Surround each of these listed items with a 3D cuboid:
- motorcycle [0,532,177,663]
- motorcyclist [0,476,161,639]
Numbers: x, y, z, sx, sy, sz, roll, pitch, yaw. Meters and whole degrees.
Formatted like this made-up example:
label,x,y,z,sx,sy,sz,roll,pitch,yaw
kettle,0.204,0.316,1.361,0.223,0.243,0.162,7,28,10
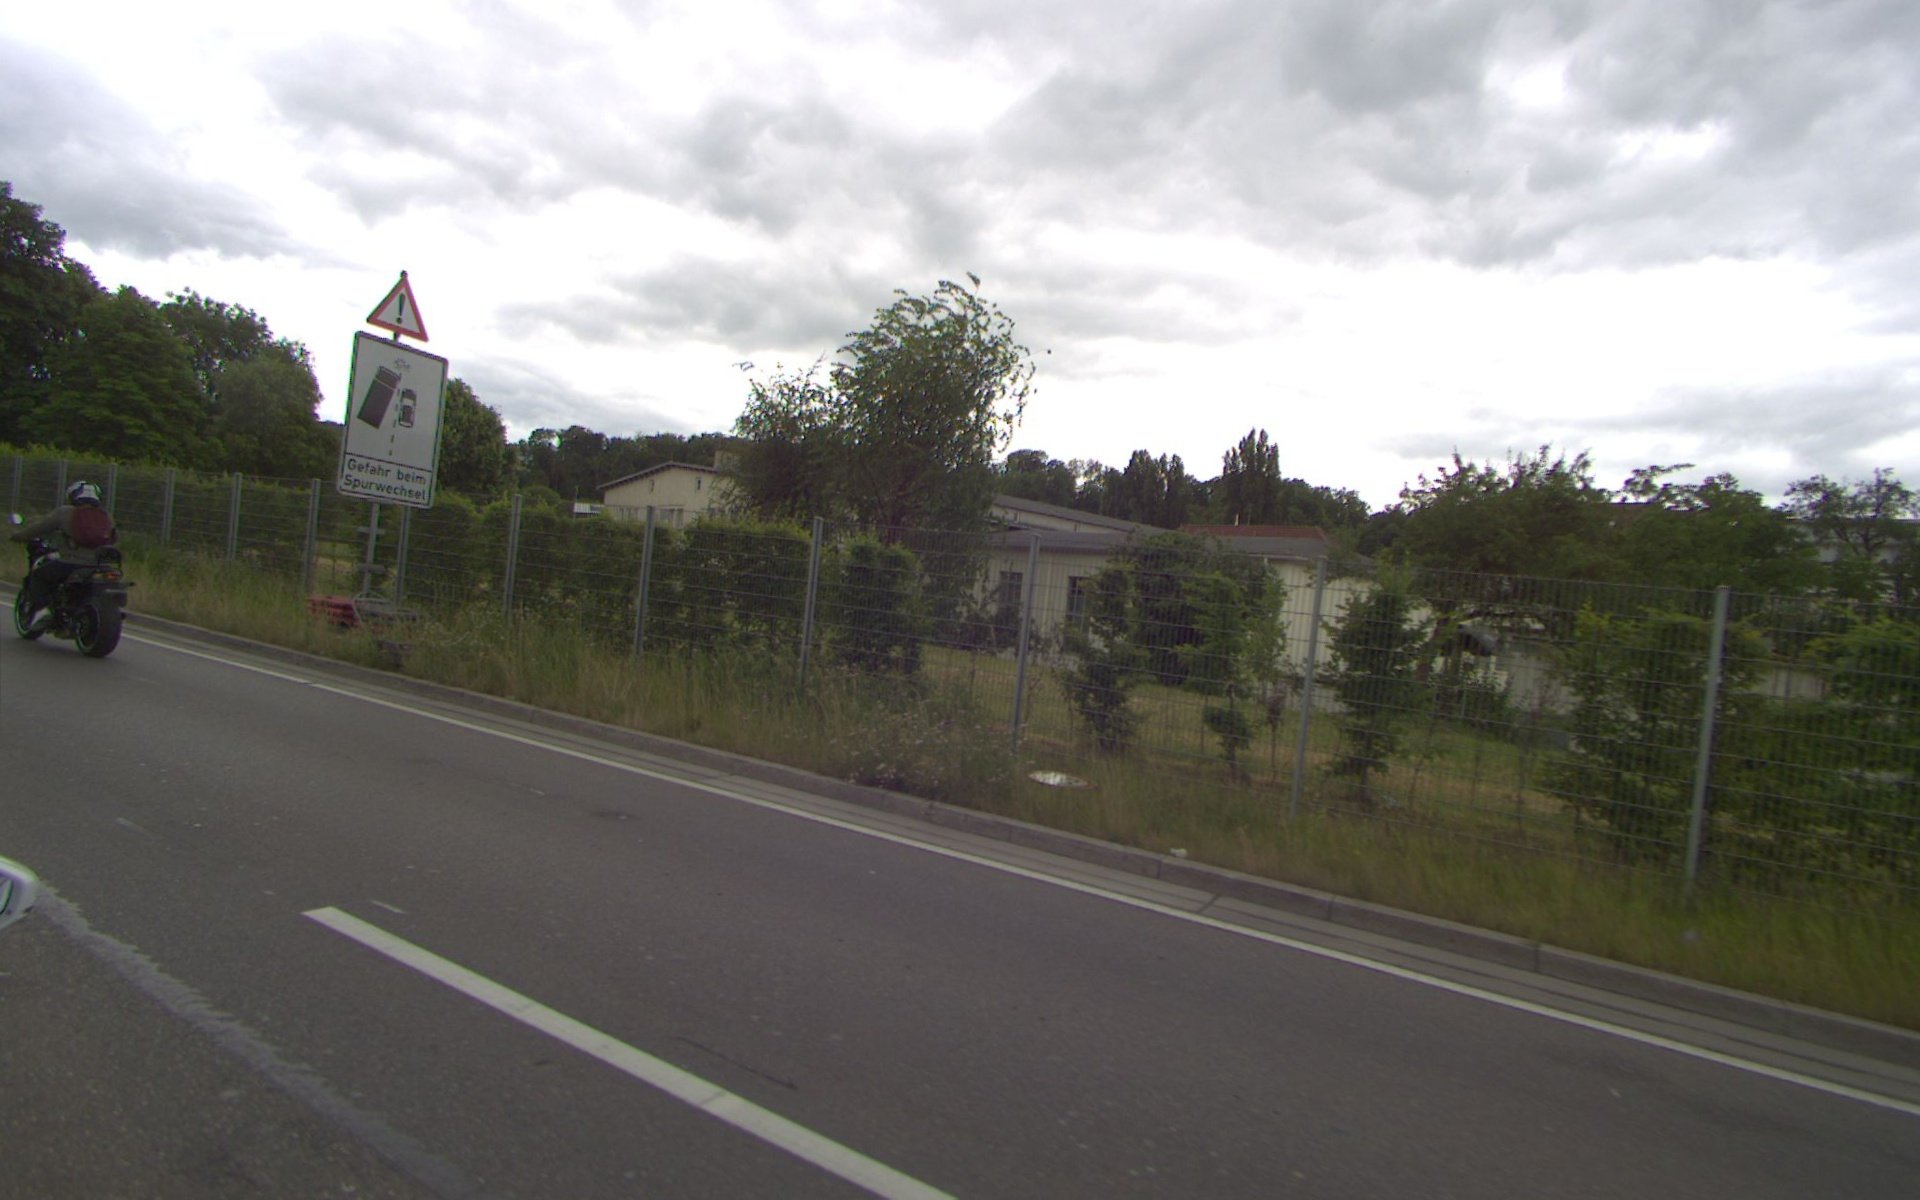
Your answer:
label,x,y,z,sx,sy,sz,roll,pitch,yaw
motorcycle,-9.233,-0.058,10.371,2.618,1.097,0.745,6,1,27
motorcyclist,-9.008,-0.419,10.267,0.950,1.495,0.914,7,0,27
